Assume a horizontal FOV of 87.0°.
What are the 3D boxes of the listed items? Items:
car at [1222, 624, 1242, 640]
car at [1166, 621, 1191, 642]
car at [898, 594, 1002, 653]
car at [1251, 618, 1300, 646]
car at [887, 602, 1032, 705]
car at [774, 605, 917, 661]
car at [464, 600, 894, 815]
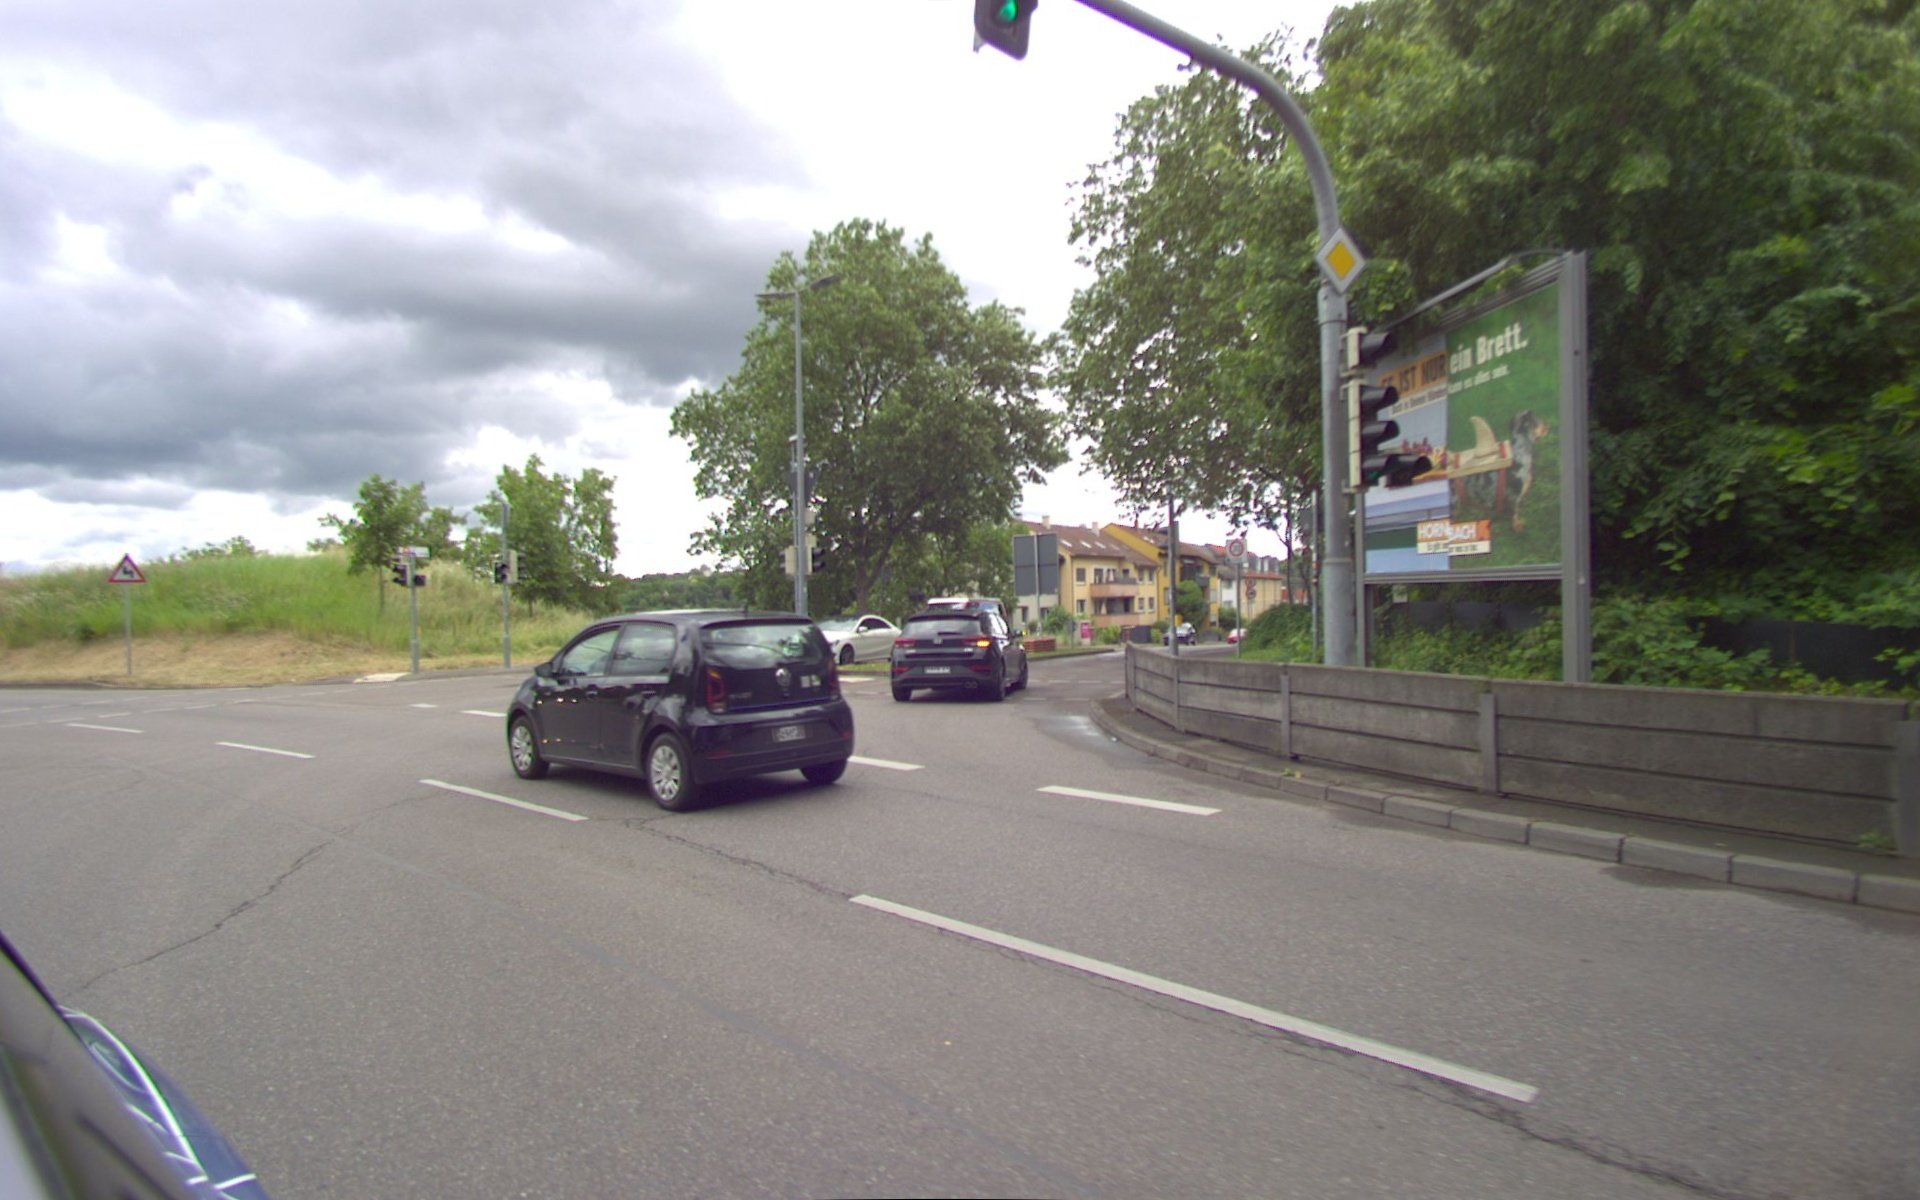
[{"bbox_3d":[25.838,3.002,96.061,1.658,1.364,3.712,-2,0,17],"label":"car"},{"bbox_3d":[15.968,2.287,74.146,1.655,1.364,3.720,-2,0,11],"label":"car"},{"bbox_3d":[-0.258,0.750,33.999,1.846,1.827,4.003,-2,0,26],"label":"car"},{"bbox_3d":[18.056,1.847,57.788,1.861,1.501,3.960,-2,-3,29],"label":"car"},{"bbox_3d":[0.132,0.811,17.203,1.802,1.488,4.125,-2,0,9],"label":"car"},{"bbox_3d":[-3.100,0.863,28.393,1.989,1.349,4.381,0,1,26],"label":"car"},{"bbox_3d":[-2.588,0.751,8.796,3.999,1.420,1.705,-1,0,42],"label":"car"}]
